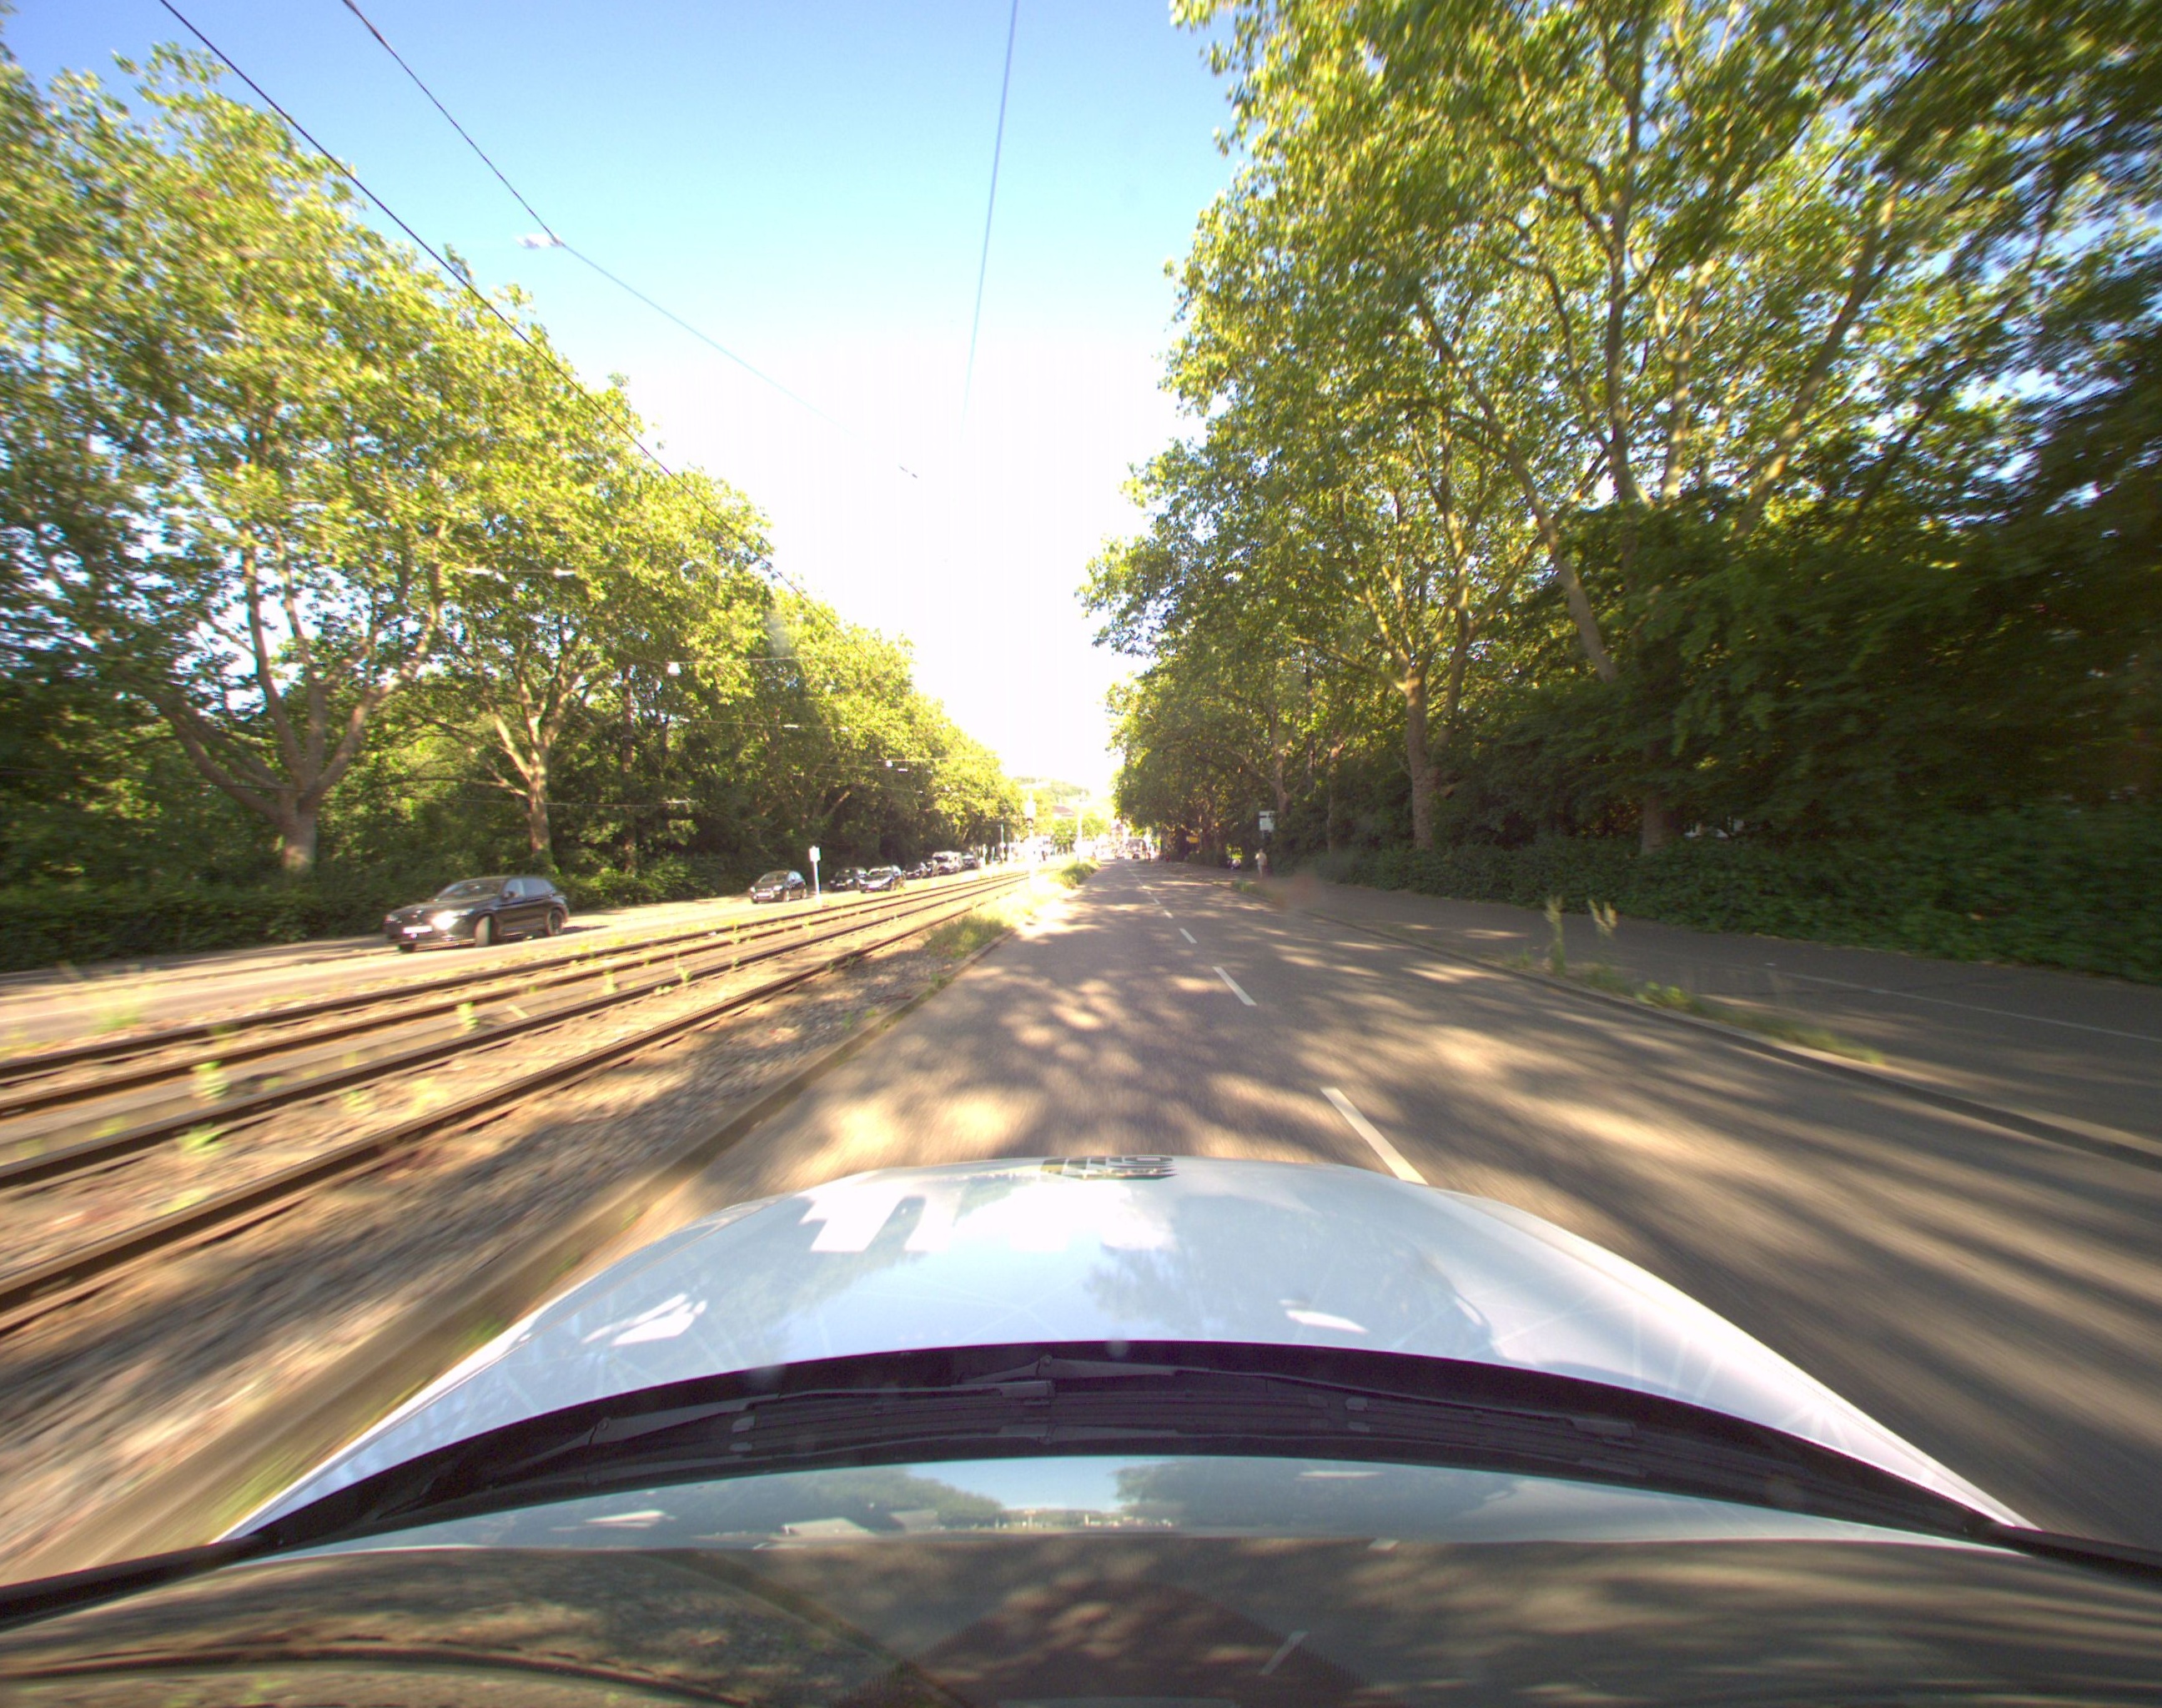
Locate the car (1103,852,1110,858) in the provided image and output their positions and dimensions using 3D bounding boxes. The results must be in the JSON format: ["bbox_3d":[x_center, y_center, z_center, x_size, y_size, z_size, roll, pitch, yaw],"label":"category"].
[{"bbox_3d":[6.513,0.142,207.880,1.802,1.452,4.000,-1,0,0],"label":"car"}]

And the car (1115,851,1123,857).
[{"bbox_3d":[9.520,0.020,206.001,1.794,1.638,4.045,-1,0,0],"label":"car"}]

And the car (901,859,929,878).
[{"bbox_3d":[-15.211,1.295,74.976,1.734,1.555,3.880,-3,0,-1],"label":"car"}]

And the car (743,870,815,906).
[{"bbox_3d":[-14.490,1.597,39.350,1.821,1.505,4.393,-3,0,-1],"label":"car"}]

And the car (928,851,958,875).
[{"bbox_3d":[-15.161,0.978,89.776,2.177,2.520,6.048,-3,0,-1],"label":"car"}]

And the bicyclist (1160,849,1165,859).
[{"bbox_3d":[13.670,0.021,136.876,0.697,1.728,1.080,-2,0,0],"label":"bicyclist"}]

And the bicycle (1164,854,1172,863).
[{"bbox_3d":[11.652,0.601,109.113,0.763,1.107,1.800,-1,0,1],"label":"bicycle"}]

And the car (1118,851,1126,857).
[{"bbox_3d":[10.019,-0.003,198.860,1.922,1.472,4.855,-1,0,1],"label":"car"}]

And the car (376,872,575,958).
[{"bbox_3d":[-14.727,1.396,20.177,1.824,1.718,4.387,-3,0,-5],"label":"car"}]

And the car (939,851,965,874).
[{"bbox_3d":[-15.439,1.016,97.773,2.178,2.520,6.266,-3,0,-2],"label":"car"}]

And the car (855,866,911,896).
[{"bbox_3d":[-11.126,1.488,46.067,1.914,1.415,4.748,-4,0,0],"label":"car"}]

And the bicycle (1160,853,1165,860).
[{"bbox_3d":[13.677,0.388,136.873,0.697,1.107,1.929,-2,0,0],"label":"bicycle"}]

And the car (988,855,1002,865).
[{"bbox_3d":[-14.253,0.982,135.335,1.898,1.652,3.969,-3,0,-2],"label":"car"}]

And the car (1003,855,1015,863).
[{"bbox_3d":[-13.753,0.981,156.314,1.789,1.510,4.340,-3,0,-1],"label":"car"}]

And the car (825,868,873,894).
[{"bbox_3d":[-14.878,1.701,52.476,1.821,1.436,4.322,-3,0,-1],"label":"car"}]

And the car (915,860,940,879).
[{"bbox_3d":[-15.294,1.504,81.418,1.734,1.728,3.880,-3,0,-1],"label":"car"}]

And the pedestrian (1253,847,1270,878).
[{"bbox_3d":[9.756,0.466,44.017,0.645,1.635,0.928,-4,0,2],"label":"pedestrian"}]

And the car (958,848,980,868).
[{"bbox_3d":[-15.422,0.519,112.543,2.177,2.520,6.030,-3,0,-1],"label":"car"}]

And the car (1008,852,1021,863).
[{"bbox_3d":[-13.519,0.748,165.265,2.061,2.124,5.088,-3,0,-1],"label":"car"}]

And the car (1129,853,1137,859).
[{"bbox_3d":[12.415,0.451,193.730,1.794,1.439,4.046,0,0,1],"label":"car"}]

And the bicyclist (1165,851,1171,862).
[{"bbox_3d":[11.642,0.341,109.117,0.763,1.513,0.650,-1,0,0],"label":"bicyclist"}]
